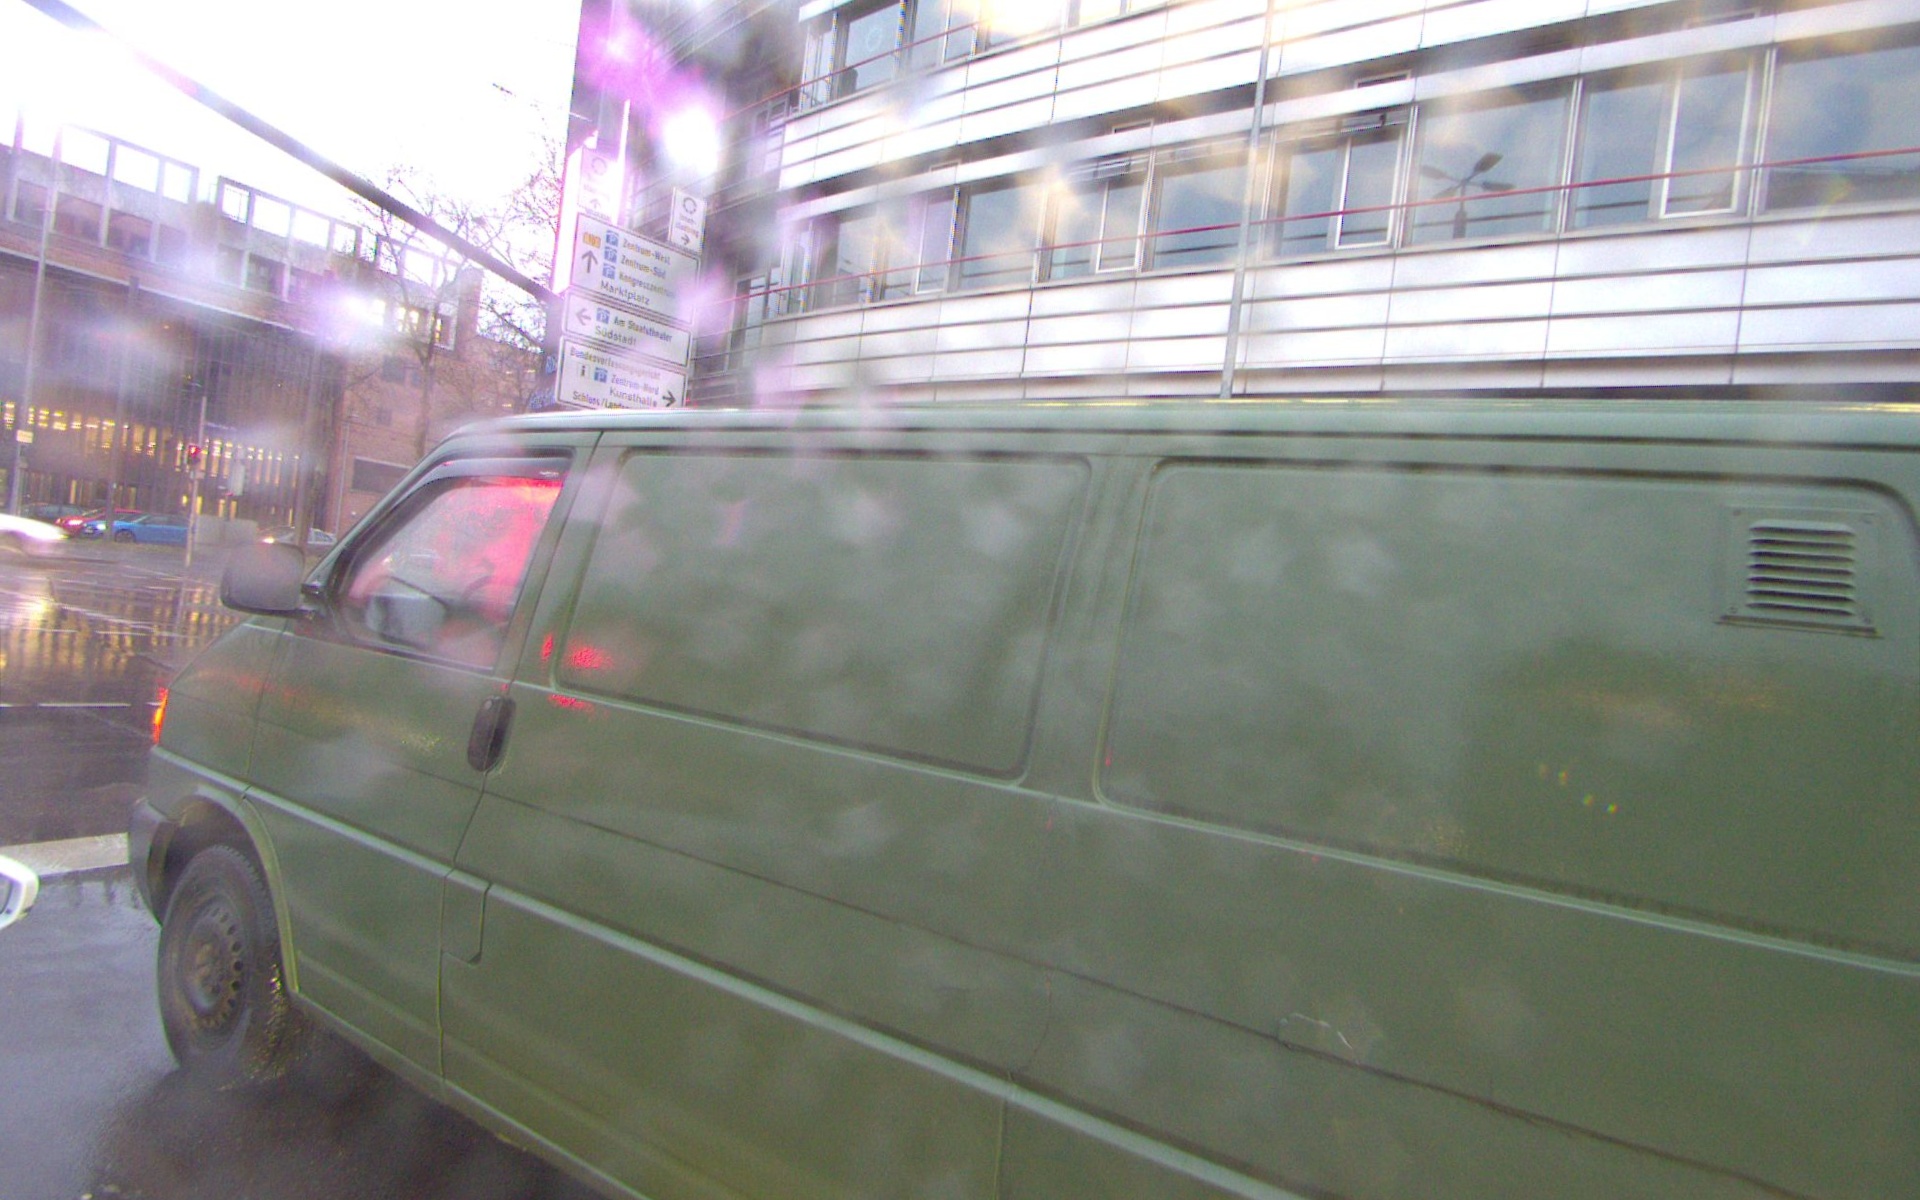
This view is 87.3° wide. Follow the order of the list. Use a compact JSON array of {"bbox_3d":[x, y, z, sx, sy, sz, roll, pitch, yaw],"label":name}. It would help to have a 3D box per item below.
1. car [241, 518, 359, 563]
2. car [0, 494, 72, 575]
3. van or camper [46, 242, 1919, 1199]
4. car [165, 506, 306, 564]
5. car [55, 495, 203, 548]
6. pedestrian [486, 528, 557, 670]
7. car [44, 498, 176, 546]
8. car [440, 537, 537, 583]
[{"bbox_3d":[-29.638,-2.655,45.307,1.814,1.304,3.997,11,1,26],"label":"car"},{"bbox_3d":[-21.696,-1.624,20.789,2.024,1.580,4.807,7,0,44],"label":"car"},{"bbox_3d":[-0.336,0.535,2.626,4.345,1.929,1.760,7,-1,32],"label":"van or camper"},{"bbox_3d":[-28.306,-2.507,39.443,1.814,1.523,3.997,11,1,26],"label":"car"},{"bbox_3d":[-32.442,-3.030,39.385,1.814,1.278,3.997,11,1,26],"label":"car"},{"bbox_3d":[-7.075,-0.006,16.248,0.609,2.210,0.576,6,0,26],"label":"pedestrian"},{"bbox_3d":[-35.485,-3.246,42.103,1.814,1.278,3.729,11,1,26],"label":"car"},{"bbox_3d":[-23.565,-1.977,50.409,1.814,1.621,3.997,11,1,26],"label":"car"}]
